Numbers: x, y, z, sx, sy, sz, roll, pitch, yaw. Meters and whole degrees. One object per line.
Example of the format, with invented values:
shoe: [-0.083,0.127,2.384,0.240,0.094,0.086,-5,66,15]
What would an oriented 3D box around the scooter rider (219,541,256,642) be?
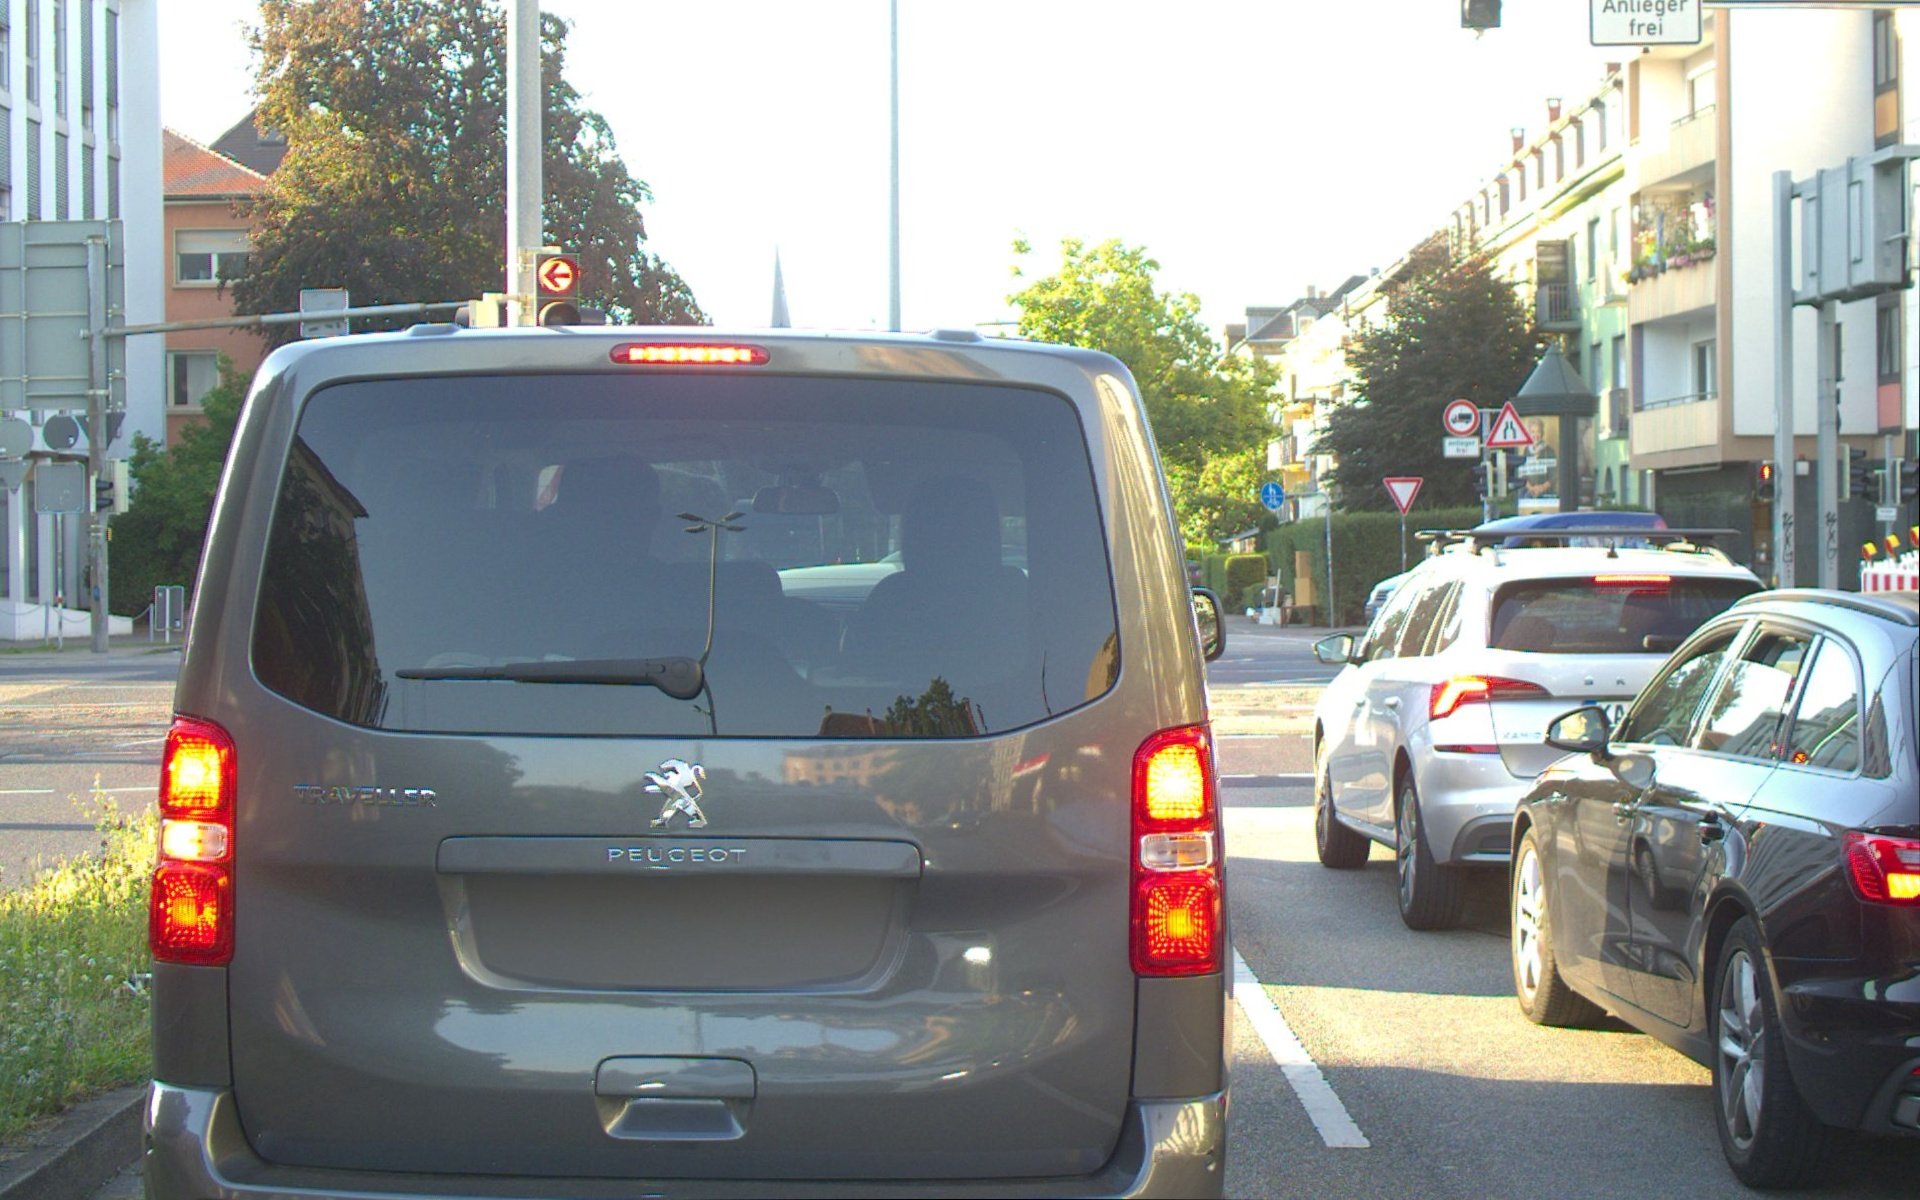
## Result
scooter rider: [-12.255,-0.148,58.317,0.481,1.691,0.636,0,1,-1]

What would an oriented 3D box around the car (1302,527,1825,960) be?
car: [2.462,0.512,14.849,1.528,1.608,3.745,1,1,-1]

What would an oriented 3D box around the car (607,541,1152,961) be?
car: [-0.318,0.521,14.632,1.993,1.525,4.000,0,1,-1]

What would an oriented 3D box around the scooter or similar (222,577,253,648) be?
scooter or similar: [-12.260,0.203,58.378,0.285,1.184,1.169,0,1,-1]

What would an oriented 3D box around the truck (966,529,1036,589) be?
truck: [1.500,-1.493,123.636,2.128,2.079,4.630,-1,1,5]

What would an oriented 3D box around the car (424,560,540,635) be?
car: [-9.451,-0.070,68.192,1.856,1.415,4.000,-1,1,-2]

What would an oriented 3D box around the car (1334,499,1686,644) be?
car: [7.252,-0.404,45.293,4.215,1.811,2.000,-1,1,-28]

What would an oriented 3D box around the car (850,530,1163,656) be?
car: [0.594,-0.098,41.220,1.695,1.383,3.677,-1,1,43]

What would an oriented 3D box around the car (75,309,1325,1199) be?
car: [-0.433,0.459,7.575,1.907,1.857,4.527,1,1,-1]

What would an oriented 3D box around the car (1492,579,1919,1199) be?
car: [2.628,0.687,9.205,1.681,1.416,4.214,1,1,-1]

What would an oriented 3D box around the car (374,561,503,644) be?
car: [-9.447,0.021,62.538,1.856,1.415,4.000,-1,1,-2]
